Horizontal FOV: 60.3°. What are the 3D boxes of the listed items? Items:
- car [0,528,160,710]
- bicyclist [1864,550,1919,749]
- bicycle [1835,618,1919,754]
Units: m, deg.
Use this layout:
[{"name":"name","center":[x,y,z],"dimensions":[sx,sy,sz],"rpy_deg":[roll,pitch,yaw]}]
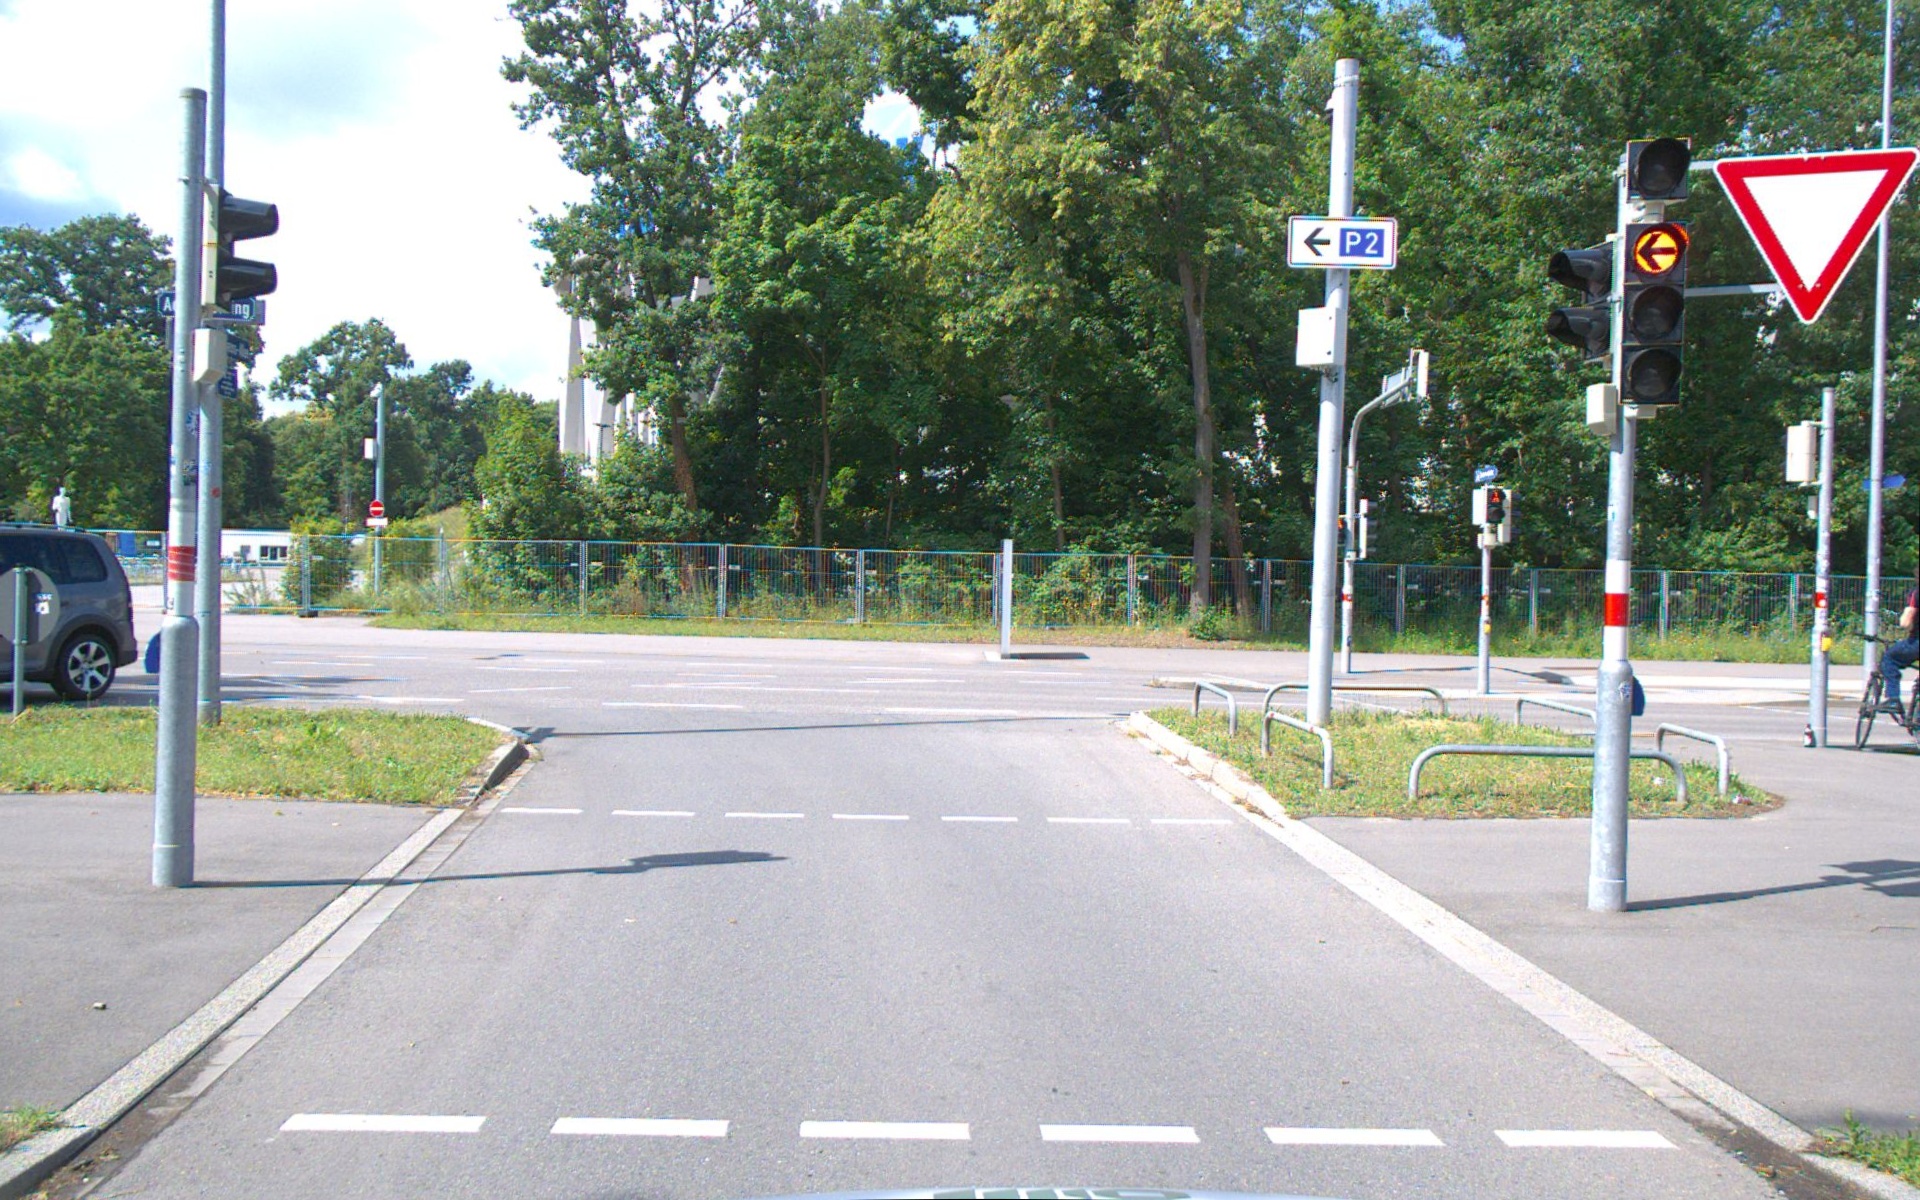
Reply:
[{"name":"car","center":[-9.706,0.162,15.030],"dimensions":[1.726,1.658,4.297],"rpy_deg":[1,1,24]},{"name":"bicyclist","center":[9.219,0.463,15.635],"dimensions":[0.866,1.829,0.979],"rpy_deg":[1,-1,7]},{"name":"bicycle","center":[9.241,0.793,15.910],"dimensions":[0.861,1.227,1.899],"rpy_deg":[1,0,8]}]
